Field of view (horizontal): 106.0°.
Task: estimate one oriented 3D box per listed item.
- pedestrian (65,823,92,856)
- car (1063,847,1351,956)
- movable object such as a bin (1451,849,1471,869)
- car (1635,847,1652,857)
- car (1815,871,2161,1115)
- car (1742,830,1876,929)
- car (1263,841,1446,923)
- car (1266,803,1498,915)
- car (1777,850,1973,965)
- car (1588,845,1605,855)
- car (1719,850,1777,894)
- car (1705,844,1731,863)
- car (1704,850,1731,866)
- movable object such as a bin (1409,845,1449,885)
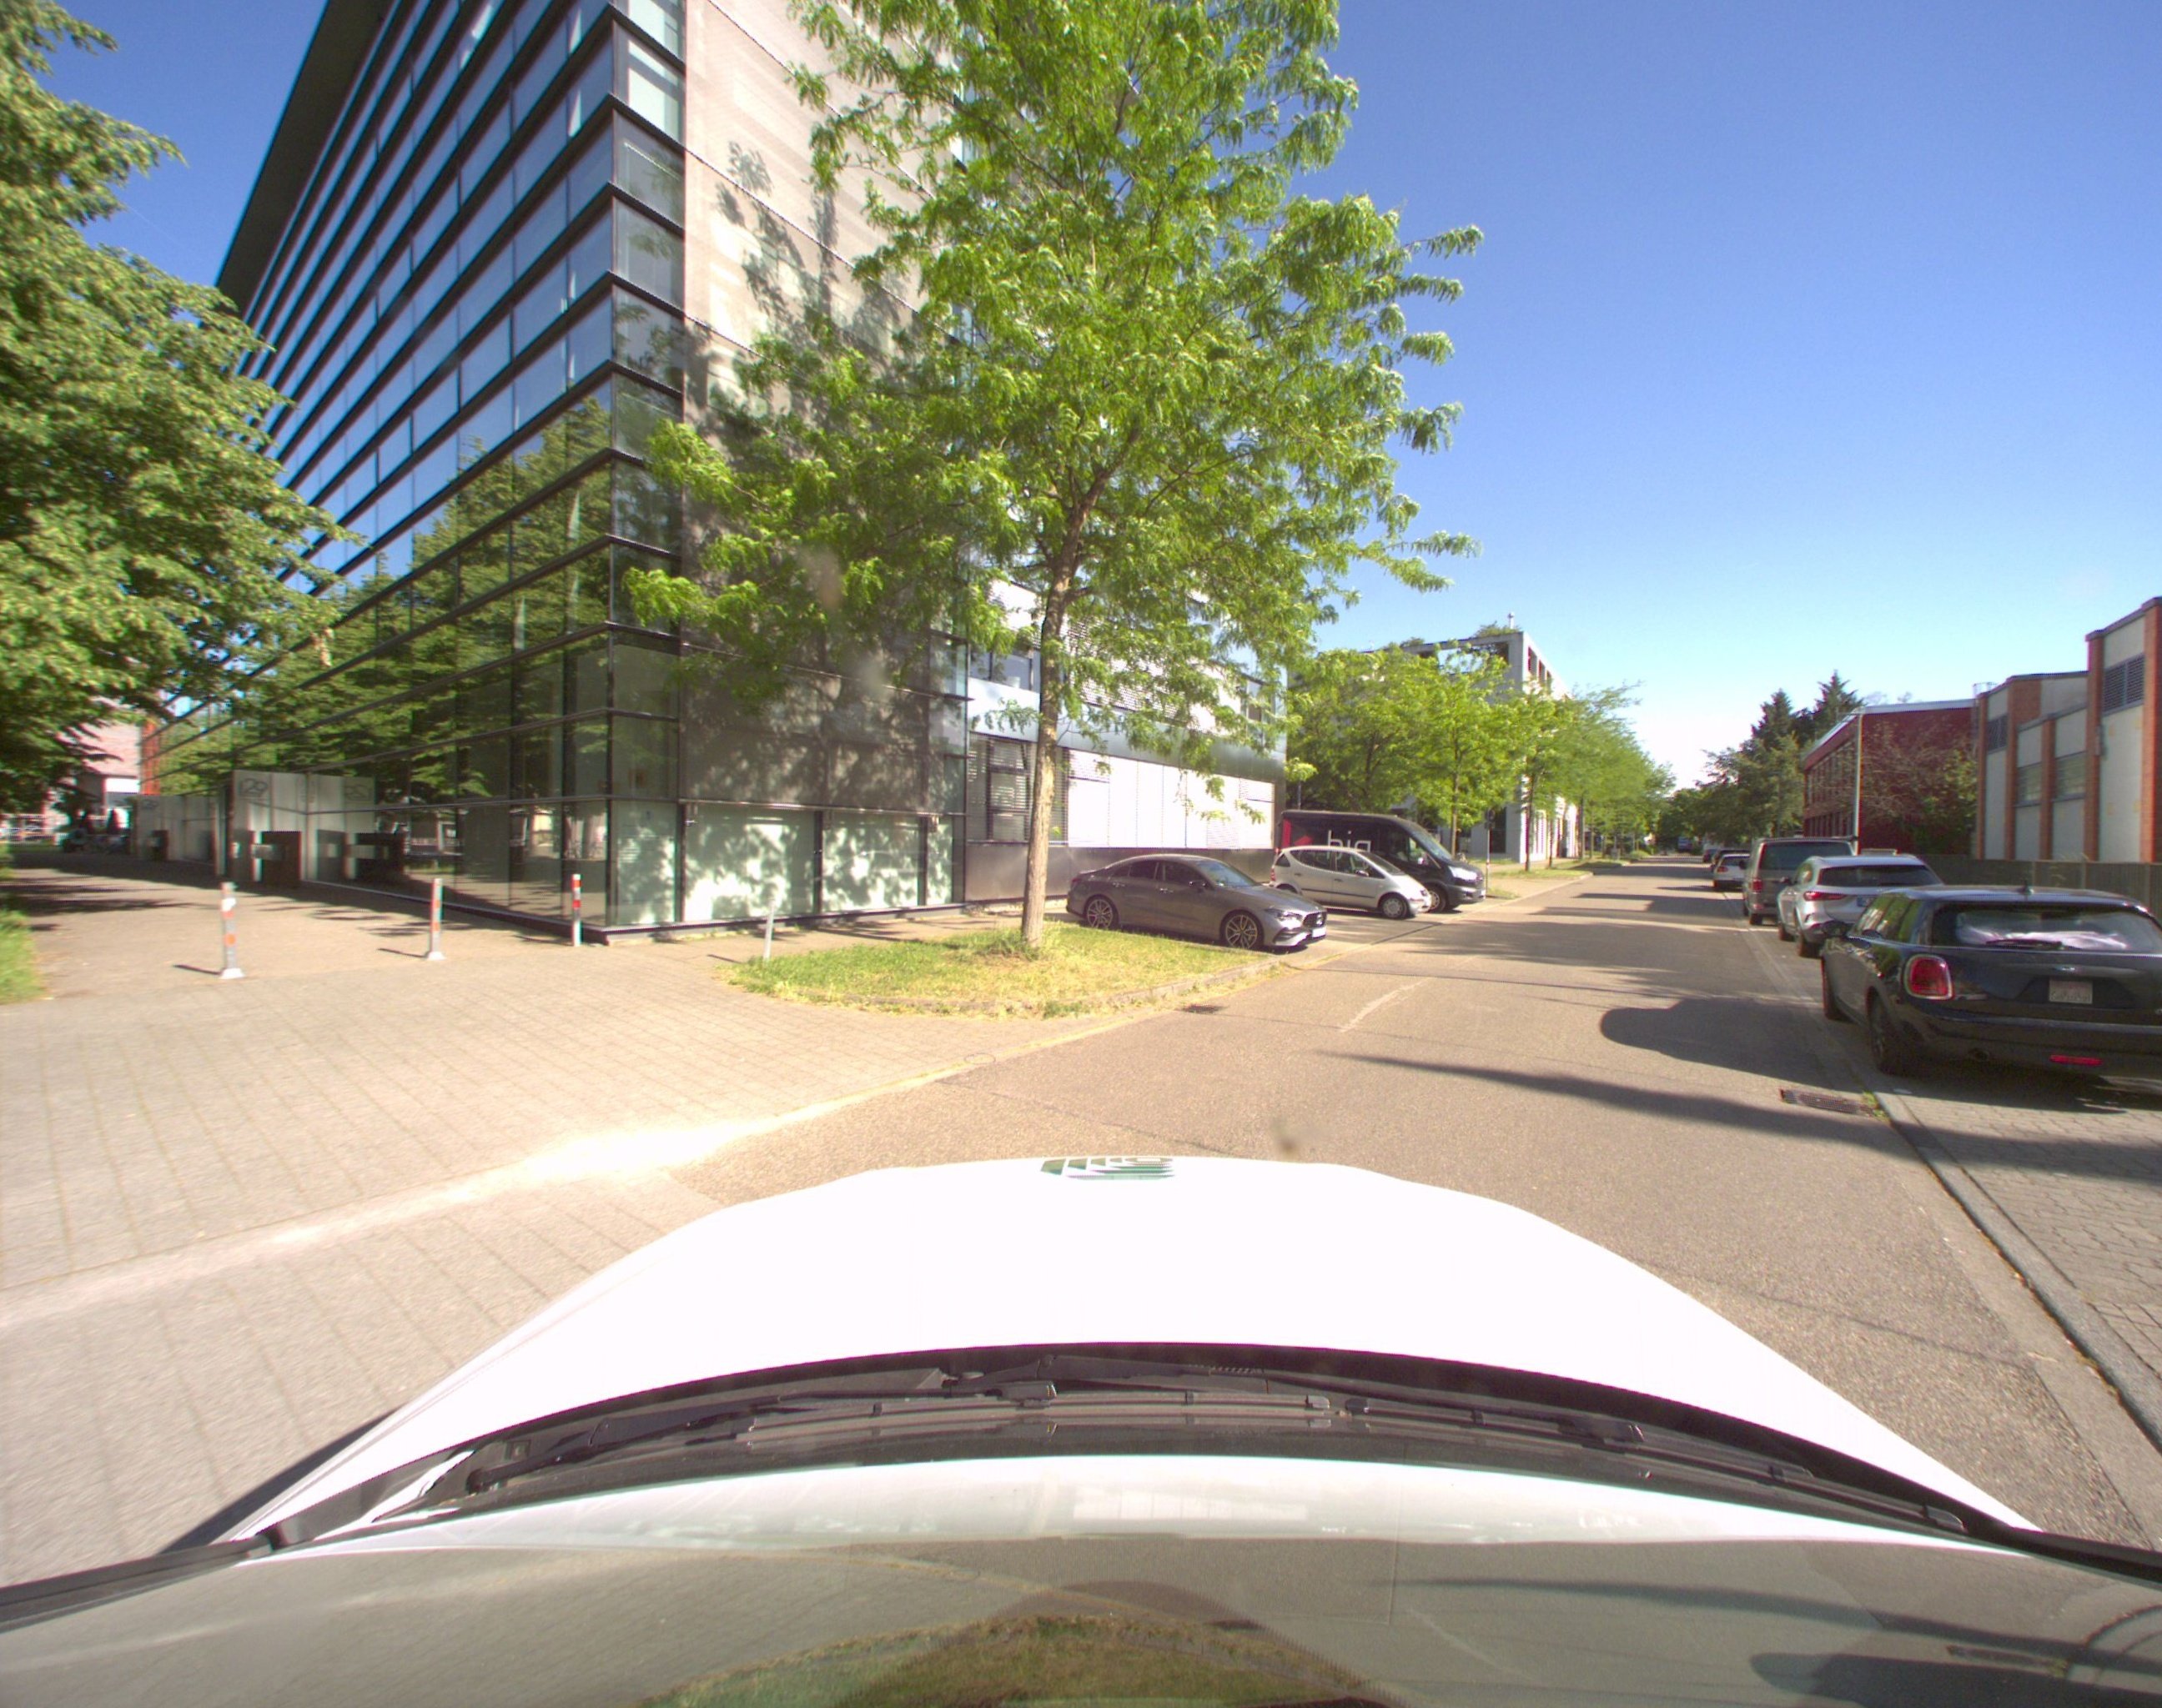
[{"bbox_3d":[-47.227,-0.670,38.367,0.681,1.550,0.723,2,1,43],"label":"pedestrian"},{"bbox_3d":[2.070,0.682,14.055,4.492,1.350,1.904,4,2,37],"label":"car"},{"bbox_3d":[22.345,0.282,47.915,0.656,1.181,1.948,1,1,37],"label":"movable object such as a bin"},{"bbox_3d":[81.002,-0.303,117.274,1.974,1.458,3.817,2,1,34],"label":"car"},{"bbox_3d":[7.599,0.917,6.928,1.636,1.472,3.788,-1,0,36],"label":"car"},{"bbox_3d":[16.830,0.522,19.068,1.924,2.022,4.856,0,0,37],"label":"car"},{"bbox_3d":[6.674,0.594,19.995,3.795,1.644,1.904,4,2,36],"label":"car"},{"bbox_3d":[8.096,0.023,22.173,5.403,2.622,2.246,4,2,36],"label":"car"},{"bbox_3d":[13.106,0.762,13.728,1.808,1.629,4.321,-1,0,37],"label":"car"},{"bbox_3d":[76.560,-0.586,120.933,1.887,1.341,3.817,1,1,34],"label":"car"},{"bbox_3d":[26.228,0.659,32.108,1.644,1.561,3.959,1,2,38],"label":"car"},{"bbox_3d":[65.405,-0.070,83.661,1.974,1.834,4.025,-3,-1,38],"label":"car"},{"bbox_3d":[61.744,0.353,79.059,1.974,1.442,4.025,2,1,38],"label":"car"},{"bbox_3d":[12.934,0.379,30.300,1.282,1.413,1.234,1,1,20],"label":"movable object such as a bin"}]
